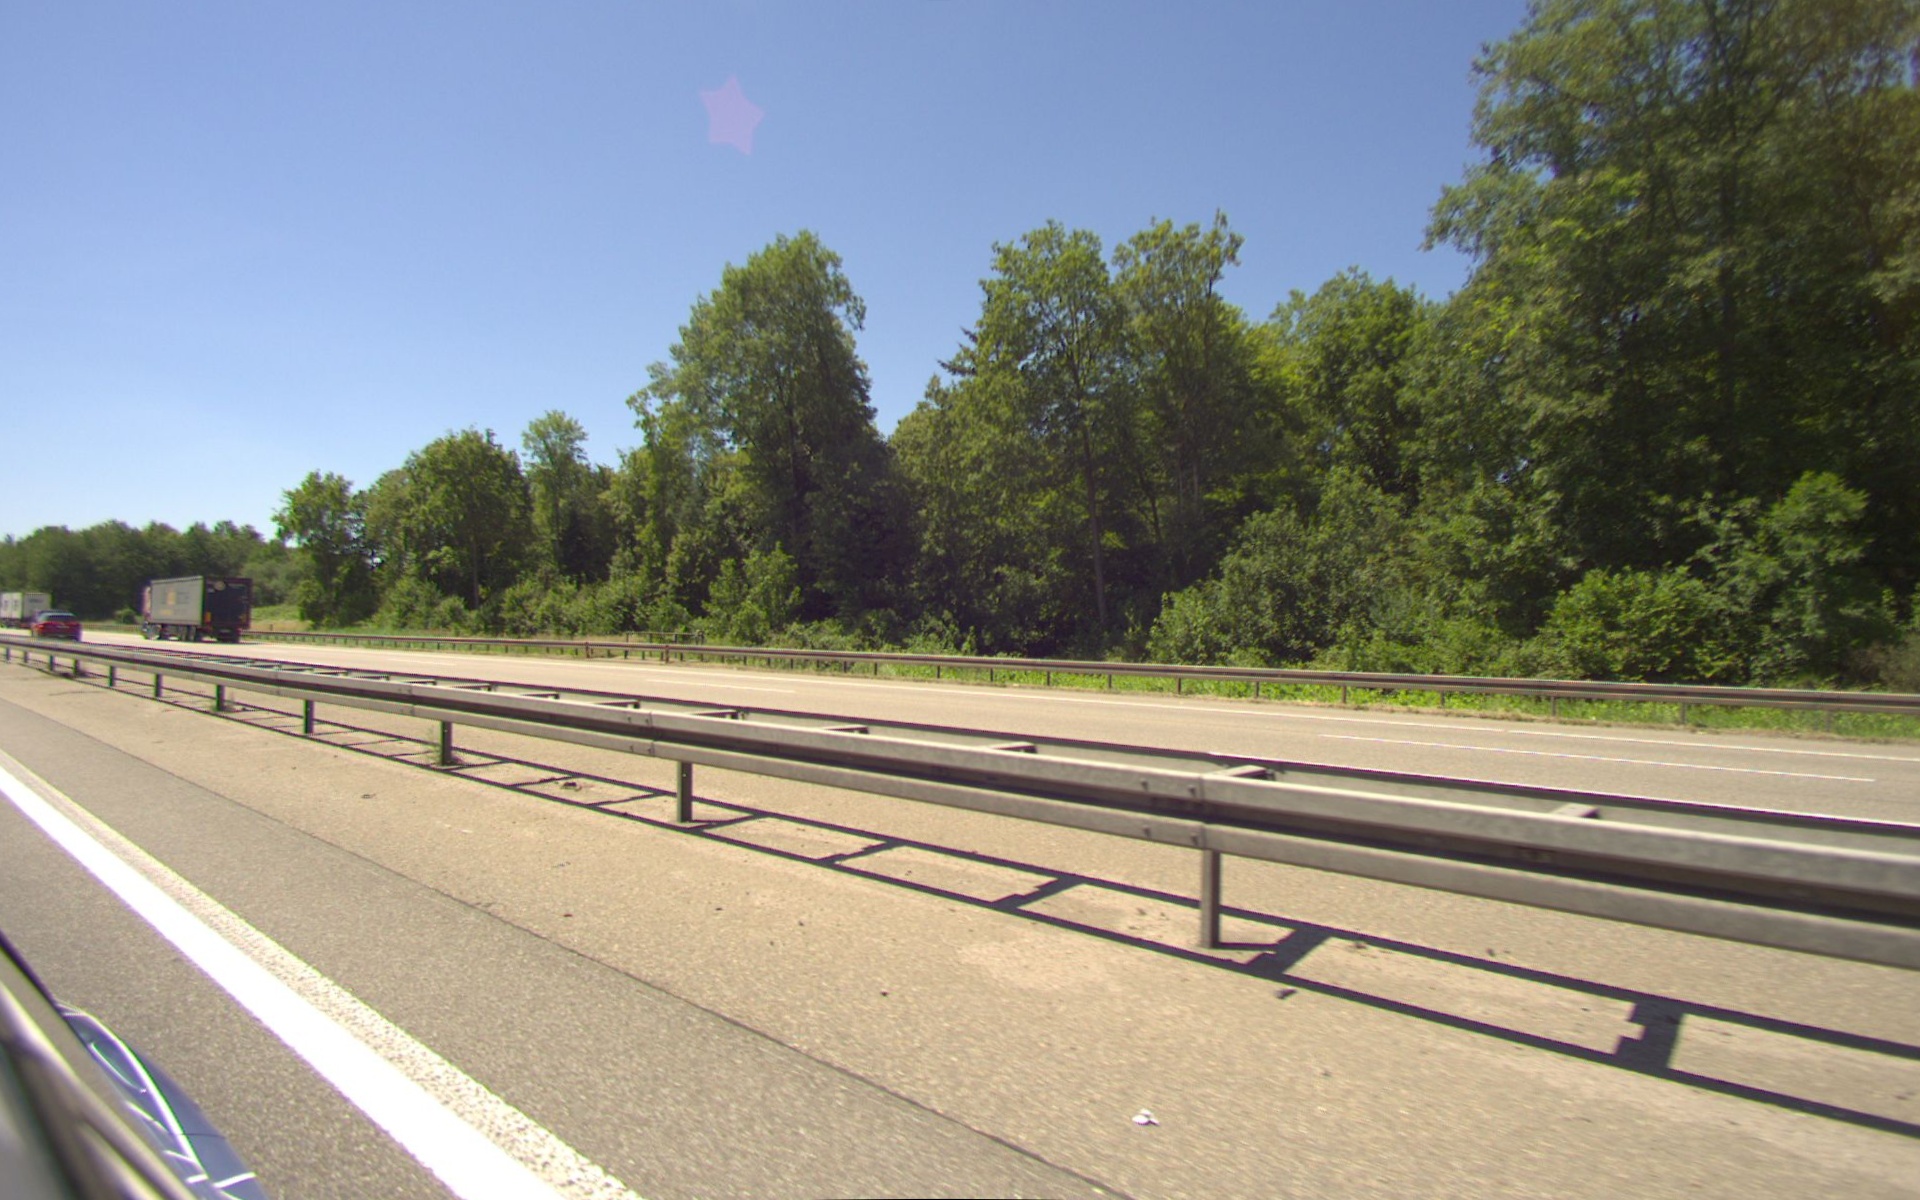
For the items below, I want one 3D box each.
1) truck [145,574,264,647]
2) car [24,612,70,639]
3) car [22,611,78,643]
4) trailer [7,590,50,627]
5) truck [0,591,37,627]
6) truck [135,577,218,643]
[{"bbox_3d":[-49.643,0.615,66.258,13.902,4.374,3.289,0,0,41],"label":"truck"},{"bbox_3d":[-71.329,1.983,79.045,5.356,2.029,1.973,0,-3,41],"label":"car"},{"bbox_3d":[-48.630,1.398,54.061,4.643,1.597,1.713,0,0,42],"label":"car"},{"bbox_3d":[-104.113,0.932,113.068,8.554,4.019,2.552,0,0,41],"label":"trailer"},{"bbox_3d":[-111.318,1.030,119.220,10.332,4.038,2.554,0,0,41],"label":"truck"},{"bbox_3d":[-54.799,0.642,70.717,6.609,4.374,3.289,0,0,41],"label":"truck"}]
